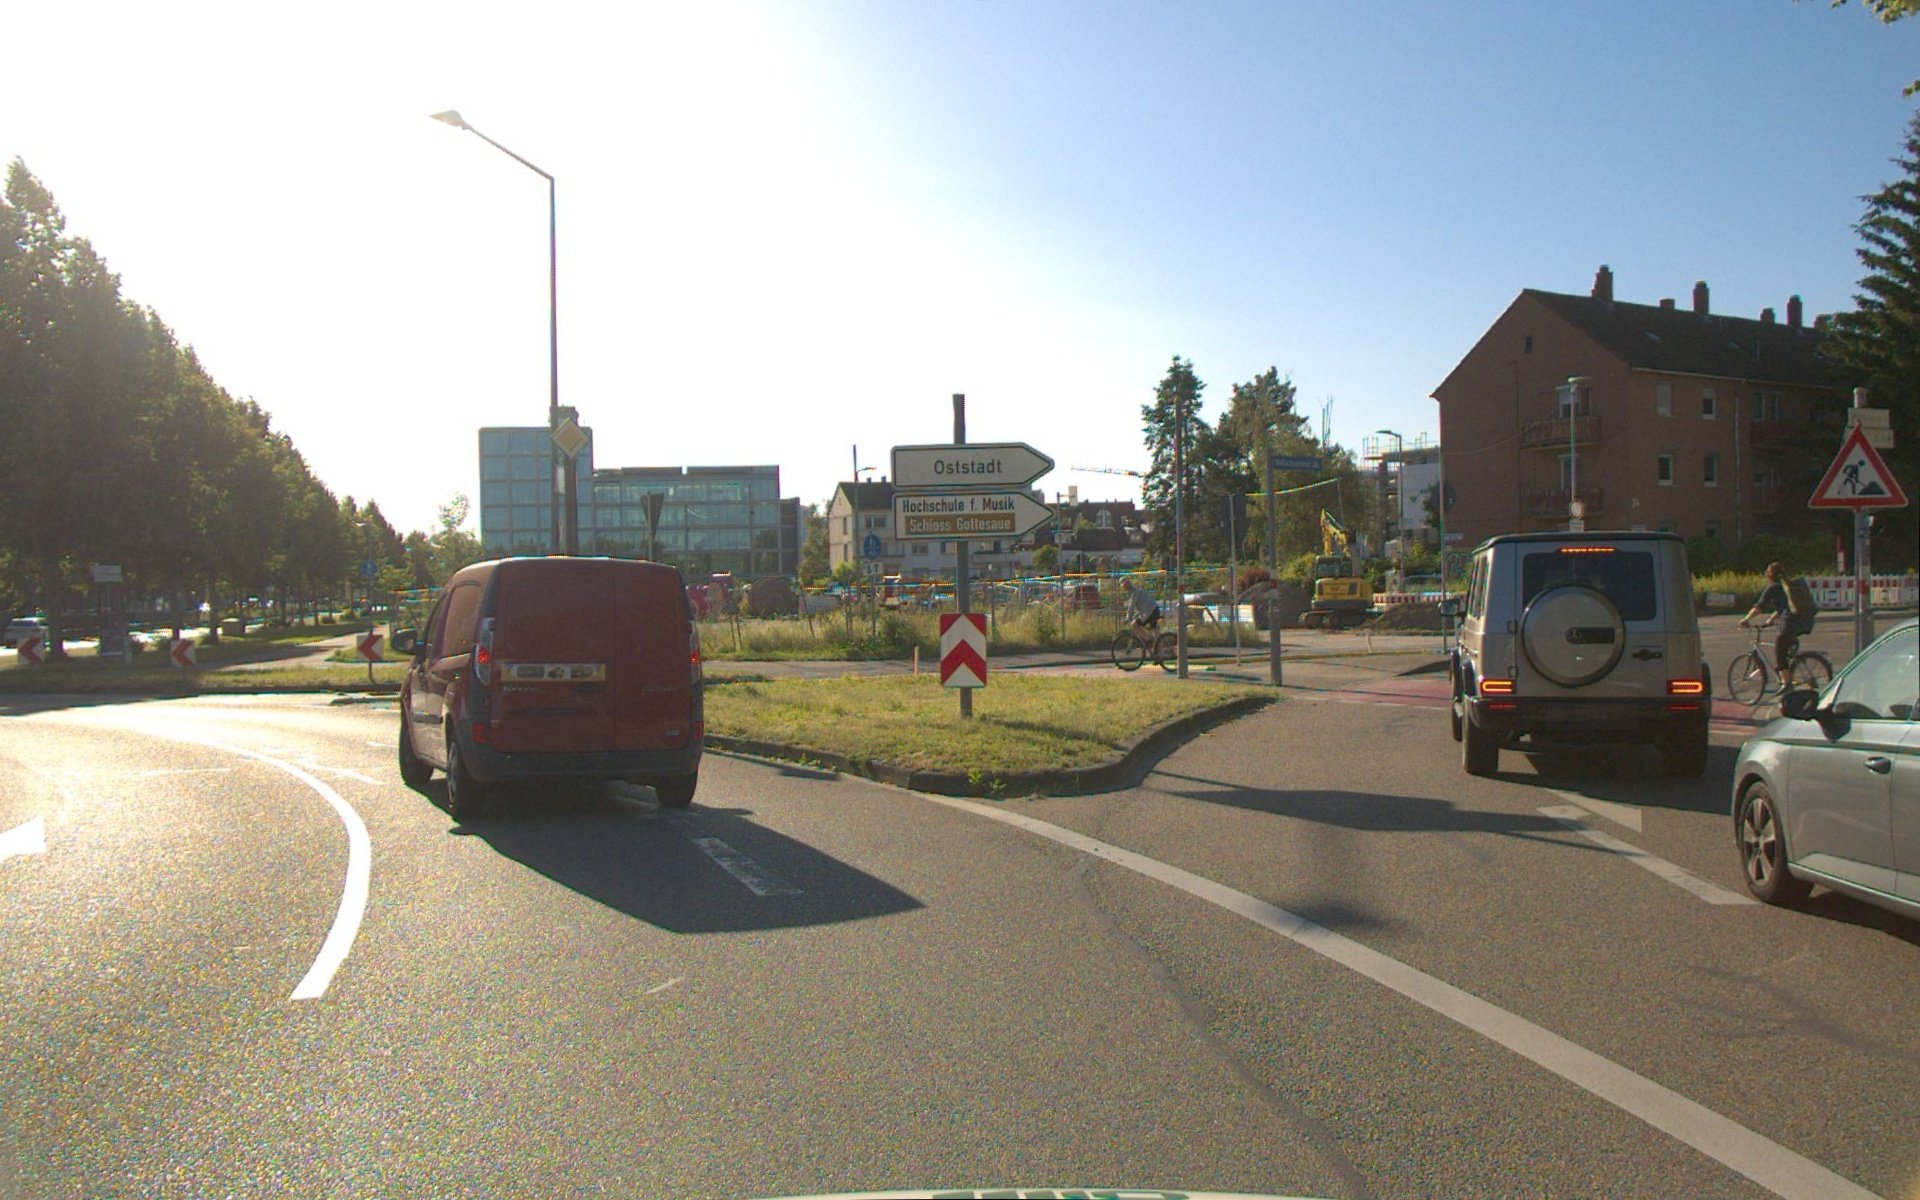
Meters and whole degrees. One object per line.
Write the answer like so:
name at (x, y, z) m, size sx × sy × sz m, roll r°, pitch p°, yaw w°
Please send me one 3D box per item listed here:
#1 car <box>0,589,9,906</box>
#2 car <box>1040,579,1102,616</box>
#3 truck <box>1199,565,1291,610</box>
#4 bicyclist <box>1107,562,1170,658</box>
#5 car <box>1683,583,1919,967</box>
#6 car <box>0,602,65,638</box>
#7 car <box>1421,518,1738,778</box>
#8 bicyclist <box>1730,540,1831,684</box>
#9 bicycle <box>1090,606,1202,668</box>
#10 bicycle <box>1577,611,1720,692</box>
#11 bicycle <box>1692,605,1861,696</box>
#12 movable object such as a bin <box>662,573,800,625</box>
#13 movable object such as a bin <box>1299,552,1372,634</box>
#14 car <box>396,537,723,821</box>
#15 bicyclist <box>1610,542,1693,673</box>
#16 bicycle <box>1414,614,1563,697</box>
car at (-4.665, 0.691, 5.115) m, size 1.730 × 1.404 × 4.345 m, roll -1°, pitch 1°, yaw -12°
car at (6.293, -0.173, 94.227) m, size 1.964 × 2.049 × 4.474 m, roll 0°, pitch 0°, yaw -19°
truck at (13.671, -0.619, 79.771) m, size 2.126 × 2.049 × 6.416 m, roll 0°, pitch 0°, yaw -12°
bicyclist at (3.301, 0.179, 30.579) m, size 0.839 × 1.709 × 0.738 m, roll 0°, pitch 3°, yaw 42°
car at (4.533, 0.659, 6.675) m, size 1.678 × 1.461 × 4.154 m, roll -1°, pitch 0°, yaw 4°
car at (-46.797, 0.984, 83.433) m, size 1.961 × 1.602 × 4.389 m, roll -2°, pitch 1°, yaw -16°
car at (5.310, 0.350, 14.831) m, size 1.954 × 1.930 × 4.757 m, roll -1°, pitch 0°, yaw 12°
bicyclist at (9.926, 0.142, 20.034) m, size 0.651 × 1.694 × 0.891 m, roll 0°, pitch 0°, yaw -29°
bicycle at (3.417, 0.664, 30.527) m, size 1.975 × 1.045 × 0.738 m, roll 0°, pitch 3°, yaw 43°
bicycle at (9.471, 0.692, 22.818) m, size 0.651 × 1.045 × 1.804 m, roll 0°, pitch 0°, yaw -31°
bicycle at (9.889, 0.587, 20.098) m, size 0.651 × 1.045 × 1.806 m, roll 0°, pitch 0°, yaw -29°
movable object such as a bin at (-13.470, -0.111, 97.215) m, size 7.771 × 2.831 × 2.934 m, roll -1°, pitch 1°, yaw -13°
movable object such as a bin at (13.572, -0.263, 59.946) m, size 2.367 × 2.822 × 4.004 m, roll 1°, pitch 0°, yaw 10°
car at (-3.247, 0.513, 12.871) m, size 1.780 × 1.845 × 3.779 m, roll 0°, pitch 0°, yaw -25°
bicyclist at (9.503, 0.102, 22.741) m, size 0.646 × 1.760 × 0.804 m, roll -1°, pitch -1°, yaw -32°
bicycle at (7.049, 0.724, 22.090) m, size 1.788 × 1.045 × 0.657 m, roll 0°, pitch 0°, yaw 37°
